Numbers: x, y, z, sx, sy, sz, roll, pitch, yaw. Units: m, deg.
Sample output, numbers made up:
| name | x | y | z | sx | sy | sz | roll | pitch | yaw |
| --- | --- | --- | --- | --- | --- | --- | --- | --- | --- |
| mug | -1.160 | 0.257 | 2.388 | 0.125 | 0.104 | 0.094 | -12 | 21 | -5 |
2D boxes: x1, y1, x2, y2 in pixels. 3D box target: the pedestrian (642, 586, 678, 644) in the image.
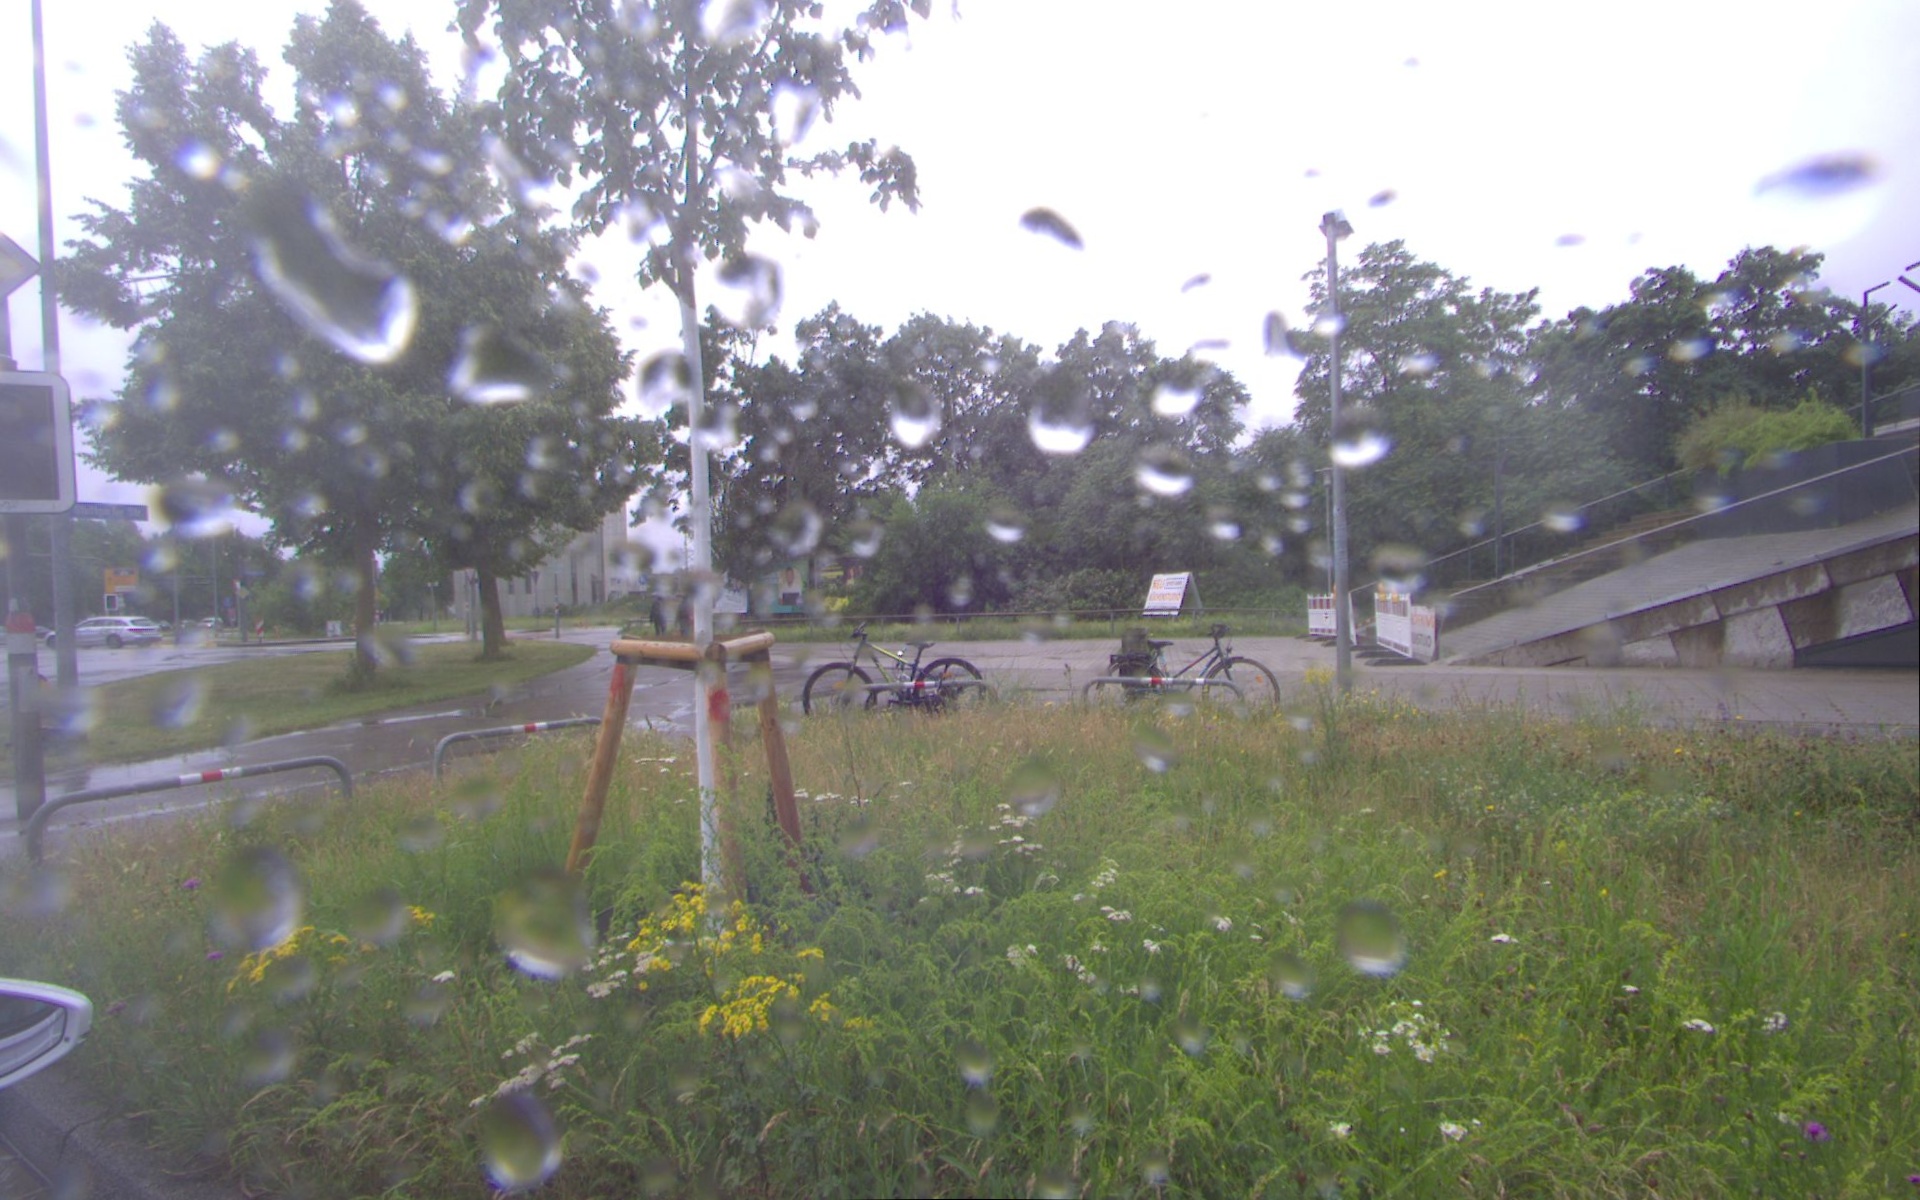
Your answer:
| name | x | y | z | sx | sy | sz | roll | pitch | yaw |
| --- | --- | --- | --- | --- | --- | --- | --- | --- | --- |
| pedestrian | -9.325 | 0.475 | 31.150 | 0.906 | 1.807 | 0.808 | 0 | -1 | -3 |

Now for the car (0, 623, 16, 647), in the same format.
| name | x | y | z | sx | sy | sz | roll | pitch | yaw |
| --- | --- | --- | --- | --- | --- | --- | --- | --- | --- |
| car | -64.320 | 2.332 | 66.373 | 1.668 | 1.512 | 3.237 | -1 | 0 | -26 |

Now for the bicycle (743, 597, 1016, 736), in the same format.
| name | x | y | z | sx | sy | sz | roll | pitch | yaw |
| --- | --- | --- | --- | --- | --- | --- | --- | --- | --- |
| bicycle | -0.740 | 0.584 | 9.392 | 2.480 | 1.205 | 0.552 | -1 | 1 | -17 |

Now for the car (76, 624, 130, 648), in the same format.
| name | x | y | z | sx | sy | sz | roll | pitch | yaw |
| --- | --- | --- | --- | --- | --- | --- | --- | --- | --- |
| car | -57.702 | 2.410 | 67.507 | 1.665 | 1.512 | 3.243 | -1 | 0 | -20 |

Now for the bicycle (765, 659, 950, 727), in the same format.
| name | x | y | z | sx | sy | sz | roll | pitch | yaw |
| --- | --- | --- | --- | --- | --- | --- | --- | --- | --- |
| bicycle | -0.991 | 0.895 | 9.777 | 1.771 | 0.566 | 0.320 | -1 | 1 | -17 |

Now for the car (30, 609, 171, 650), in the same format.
| name | x | y | z | sx | sy | sz | roll | pitch | yaw |
| --- | --- | --- | --- | --- | --- | --- | --- | --- | --- |
| car | -39.716 | 1.369 | 46.385 | 4.745 | 1.833 | 1.789 | 0 | -2 | -7 |

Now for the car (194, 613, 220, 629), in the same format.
| name | x | y | z | sx | sy | sz | roll | pitch | yaw |
| --- | --- | --- | --- | --- | --- | --- | --- | --- | --- |
| car | -99.564 | 2.822 | 132.490 | 1.763 | 2.039 | 3.665 | 0 | -2 | -20 |

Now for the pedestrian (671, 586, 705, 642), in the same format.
| name | x | y | z | sx | sy | sz | roll | pitch | yaw |
| --- | --- | --- | --- | --- | --- | --- | --- | --- | --- |
| pedestrian | -8.772 | 0.460 | 32.292 | 0.906 | 1.807 | 0.808 | 0 | -1 | -3 |

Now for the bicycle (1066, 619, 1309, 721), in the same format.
| name | x | y | z | sx | sy | sz | roll | pitch | yaw |
| --- | --- | --- | --- | --- | --- | --- | --- | --- | --- |
| bicycle | 2.100 | 0.615 | 9.380 | 2.131 | 0.858 | 0.633 | -1 | 0 | 30 |
